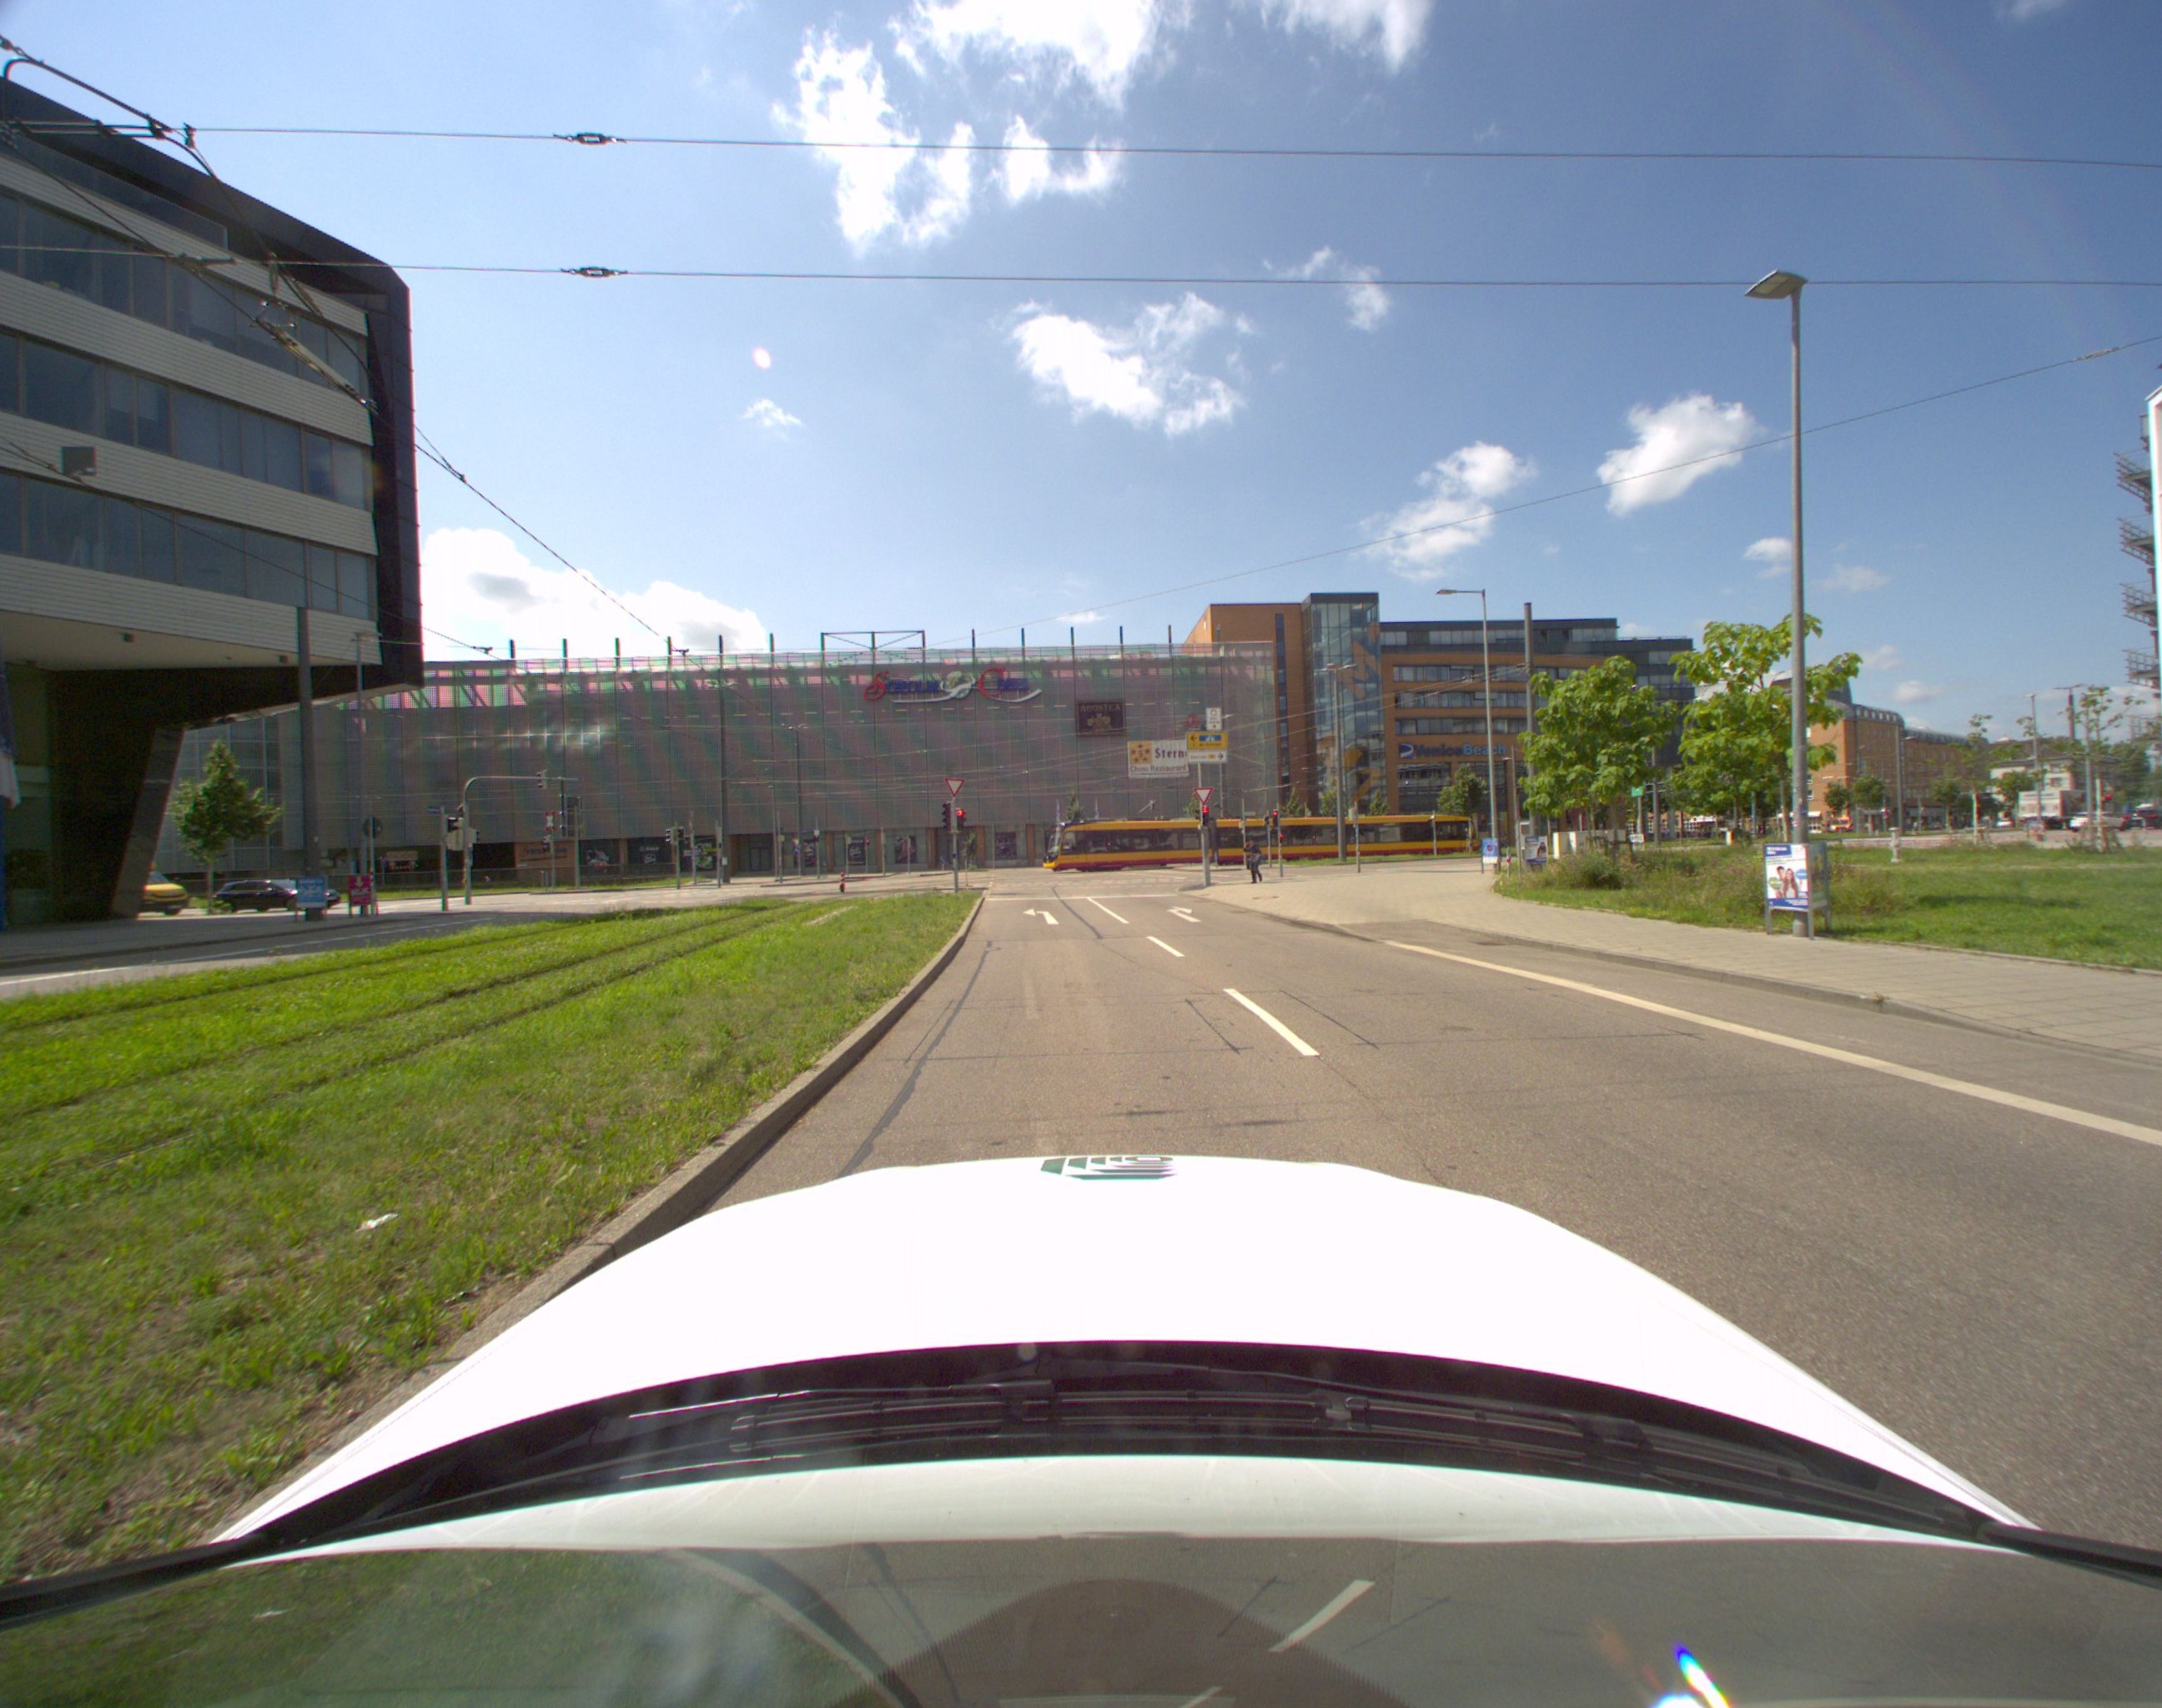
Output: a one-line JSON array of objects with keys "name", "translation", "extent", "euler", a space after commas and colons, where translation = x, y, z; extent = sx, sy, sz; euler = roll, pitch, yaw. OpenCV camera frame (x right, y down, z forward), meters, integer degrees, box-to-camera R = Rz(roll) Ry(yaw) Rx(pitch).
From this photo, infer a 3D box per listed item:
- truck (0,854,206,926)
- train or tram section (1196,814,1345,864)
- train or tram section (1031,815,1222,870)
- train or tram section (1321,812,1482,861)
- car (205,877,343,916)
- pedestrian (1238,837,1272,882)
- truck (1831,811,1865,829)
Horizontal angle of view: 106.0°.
[{"name": "truck", "translation": [-43.296, 1.542, 35.653], "extent": [6.835, 2.829, 2.443], "euler": [-2, 0, -5]}, {"name": "train or tram section", "translation": [14.394, -1.166, 61.929], "extent": [10.982, 3.603, 3.048], "euler": [-1, 0, -17]}, {"name": "train or tram section", "translation": [3.388, -0.883, 57.161], "extent": [13.527, 3.599, 3.199], "euler": [-1, 0, -27]}, {"name": "train or tram section", "translation": [25.738, -1.415, 65.328], "extent": [12.611, 3.621, 3.051], "euler": [-1, 0, -14]}, {"name": "car", "translation": [-35.618, 1.844, 36.021], "extent": [4.089, 1.469, 1.825], "euler": [-2, 0, -3]}, {"name": "pedestrian", "translation": [6.847, 0.235, 32.020], "extent": [0.811, 1.702, 0.909], "euler": [-3, 0, -32]}, {"name": "truck", "translation": [96.043, -4.260, 101.971], "extent": [5.546, 2.085, 1.979], "euler": [-1, 0, -35]}]
